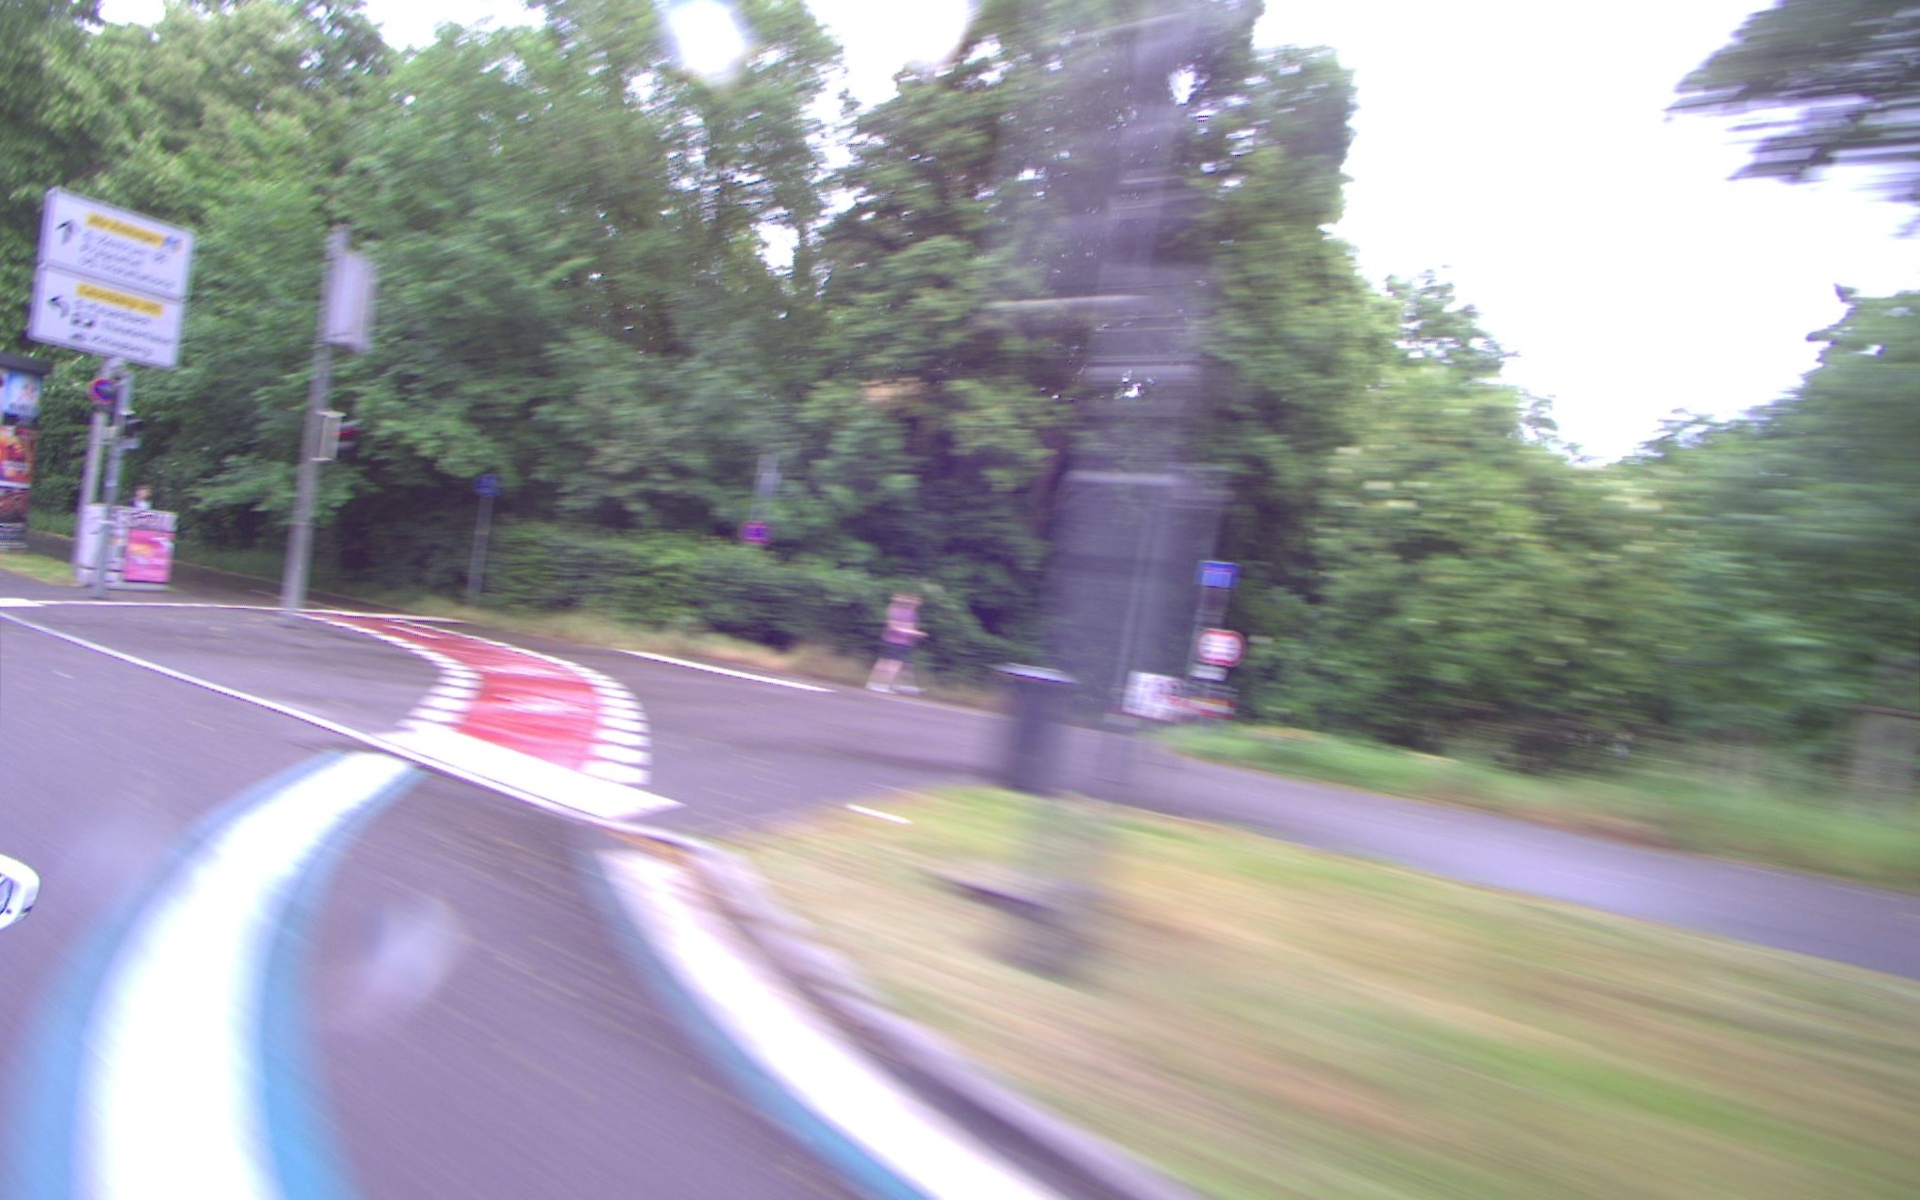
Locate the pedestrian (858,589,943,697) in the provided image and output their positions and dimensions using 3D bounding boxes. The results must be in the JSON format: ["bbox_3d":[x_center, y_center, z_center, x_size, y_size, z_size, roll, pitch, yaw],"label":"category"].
[{"bbox_3d":[-1.049,0.795,17.824,1.134,1.749,0.885,7,-9,-32],"label":"pedestrian"}]
